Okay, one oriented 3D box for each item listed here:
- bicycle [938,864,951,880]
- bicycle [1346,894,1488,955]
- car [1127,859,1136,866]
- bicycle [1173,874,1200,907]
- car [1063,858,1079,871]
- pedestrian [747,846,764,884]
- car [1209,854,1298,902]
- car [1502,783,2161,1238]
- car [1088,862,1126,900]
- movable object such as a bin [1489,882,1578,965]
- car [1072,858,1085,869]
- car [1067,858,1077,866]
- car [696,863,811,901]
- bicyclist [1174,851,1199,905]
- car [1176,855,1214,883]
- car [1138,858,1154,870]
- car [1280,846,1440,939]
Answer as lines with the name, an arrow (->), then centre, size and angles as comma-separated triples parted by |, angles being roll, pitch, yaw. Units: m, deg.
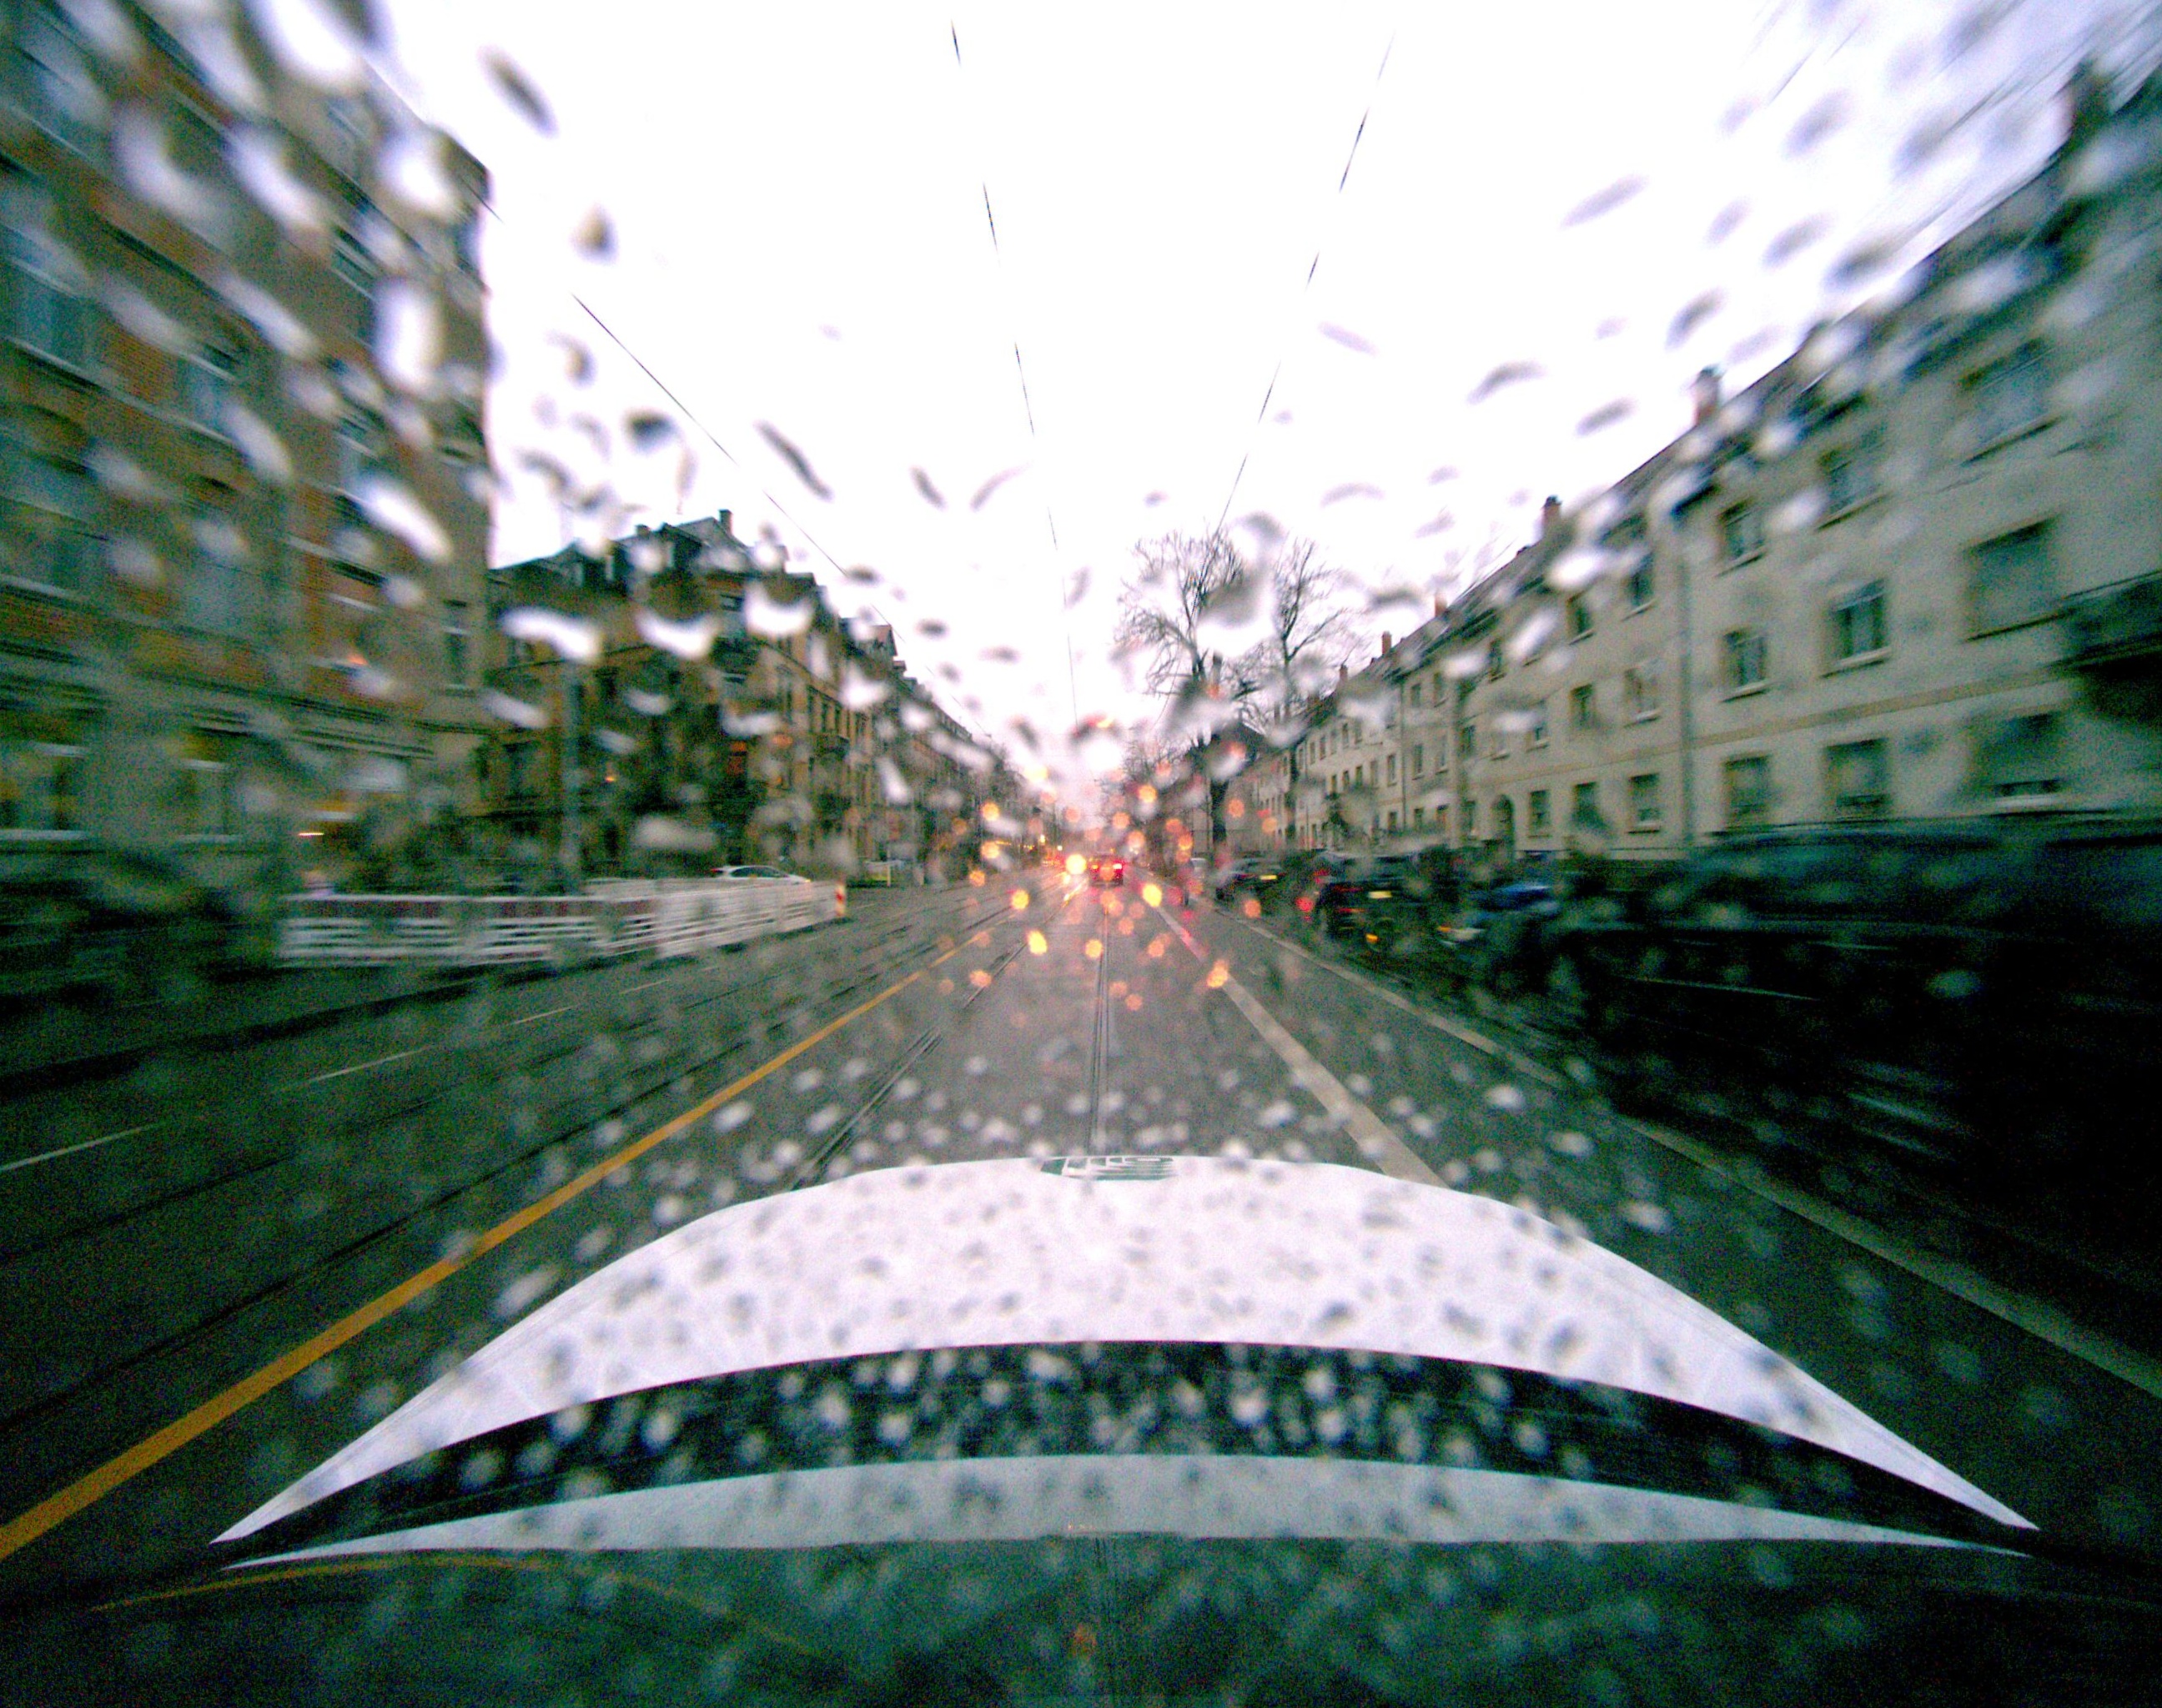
bicycle -> -8.958, 1.172, 53.395 | 0.494, 1.007, 1.765 | 0, 0, 3
bicycle -> 5.266, 1.108, 12.838 | 2.001, 0.916, 0.466 | -1, 0, 10
car -> 9.924, 1.655, 160.212 | 1.778, 1.509, 4.110 | 0, 0, 2
bicycle -> 3.413, 1.163, 26.424 | 0.728, 1.007, 1.765 | 0, 0, 3
car -> -1.277, 1.354, 104.816 | 1.916, 1.662, 4.002 | 0, 0, 2
pedestrian -> -15.644, 0.523, 39.164 | 0.722, 1.773, 0.764 | 0, -1, -27
car -> 5.665, 0.742, 27.276 | 1.874, 1.420, 4.340 | -2, 0, -2
car -> 5.039, 0.603, 5.544 | 1.899, 1.727, 4.903 | 0, 0, 1
car -> 1.472, 1.421, 44.648 | 1.793, 1.871, 4.023 | 2, 0, 5
movable object such as a bin -> 5.852, 0.881, 10.556 | 0.749, 0.954, 0.568 | -5, 0, -4
car -> -0.428, 1.559, 132.847 | 1.916, 1.662, 4.002 | 0, 0, 2
car -> -1.787, 1.600, 164.045 | 1.916, 1.720, 4.002 | 0, 0, 2
car -> -14.073, 1.149, 35.073 | 4.194, 1.526, 1.977 | 0, -1, -40
bicyclist -> 3.413, 0.769, 26.361 | 0.727, 1.736, 0.766 | 0, -1, 3
car -> 6.340, 0.802, 45.590 | 1.778, 1.509, 4.111 | 0, 0, 3
car -> 8.098, 1.264, 101.458 | 1.778, 1.509, 4.110 | 0, 0, 2
car -> 5.404, 0.689, 16.449 | 1.897, 1.610, 4.565 | 0, 0, 3
